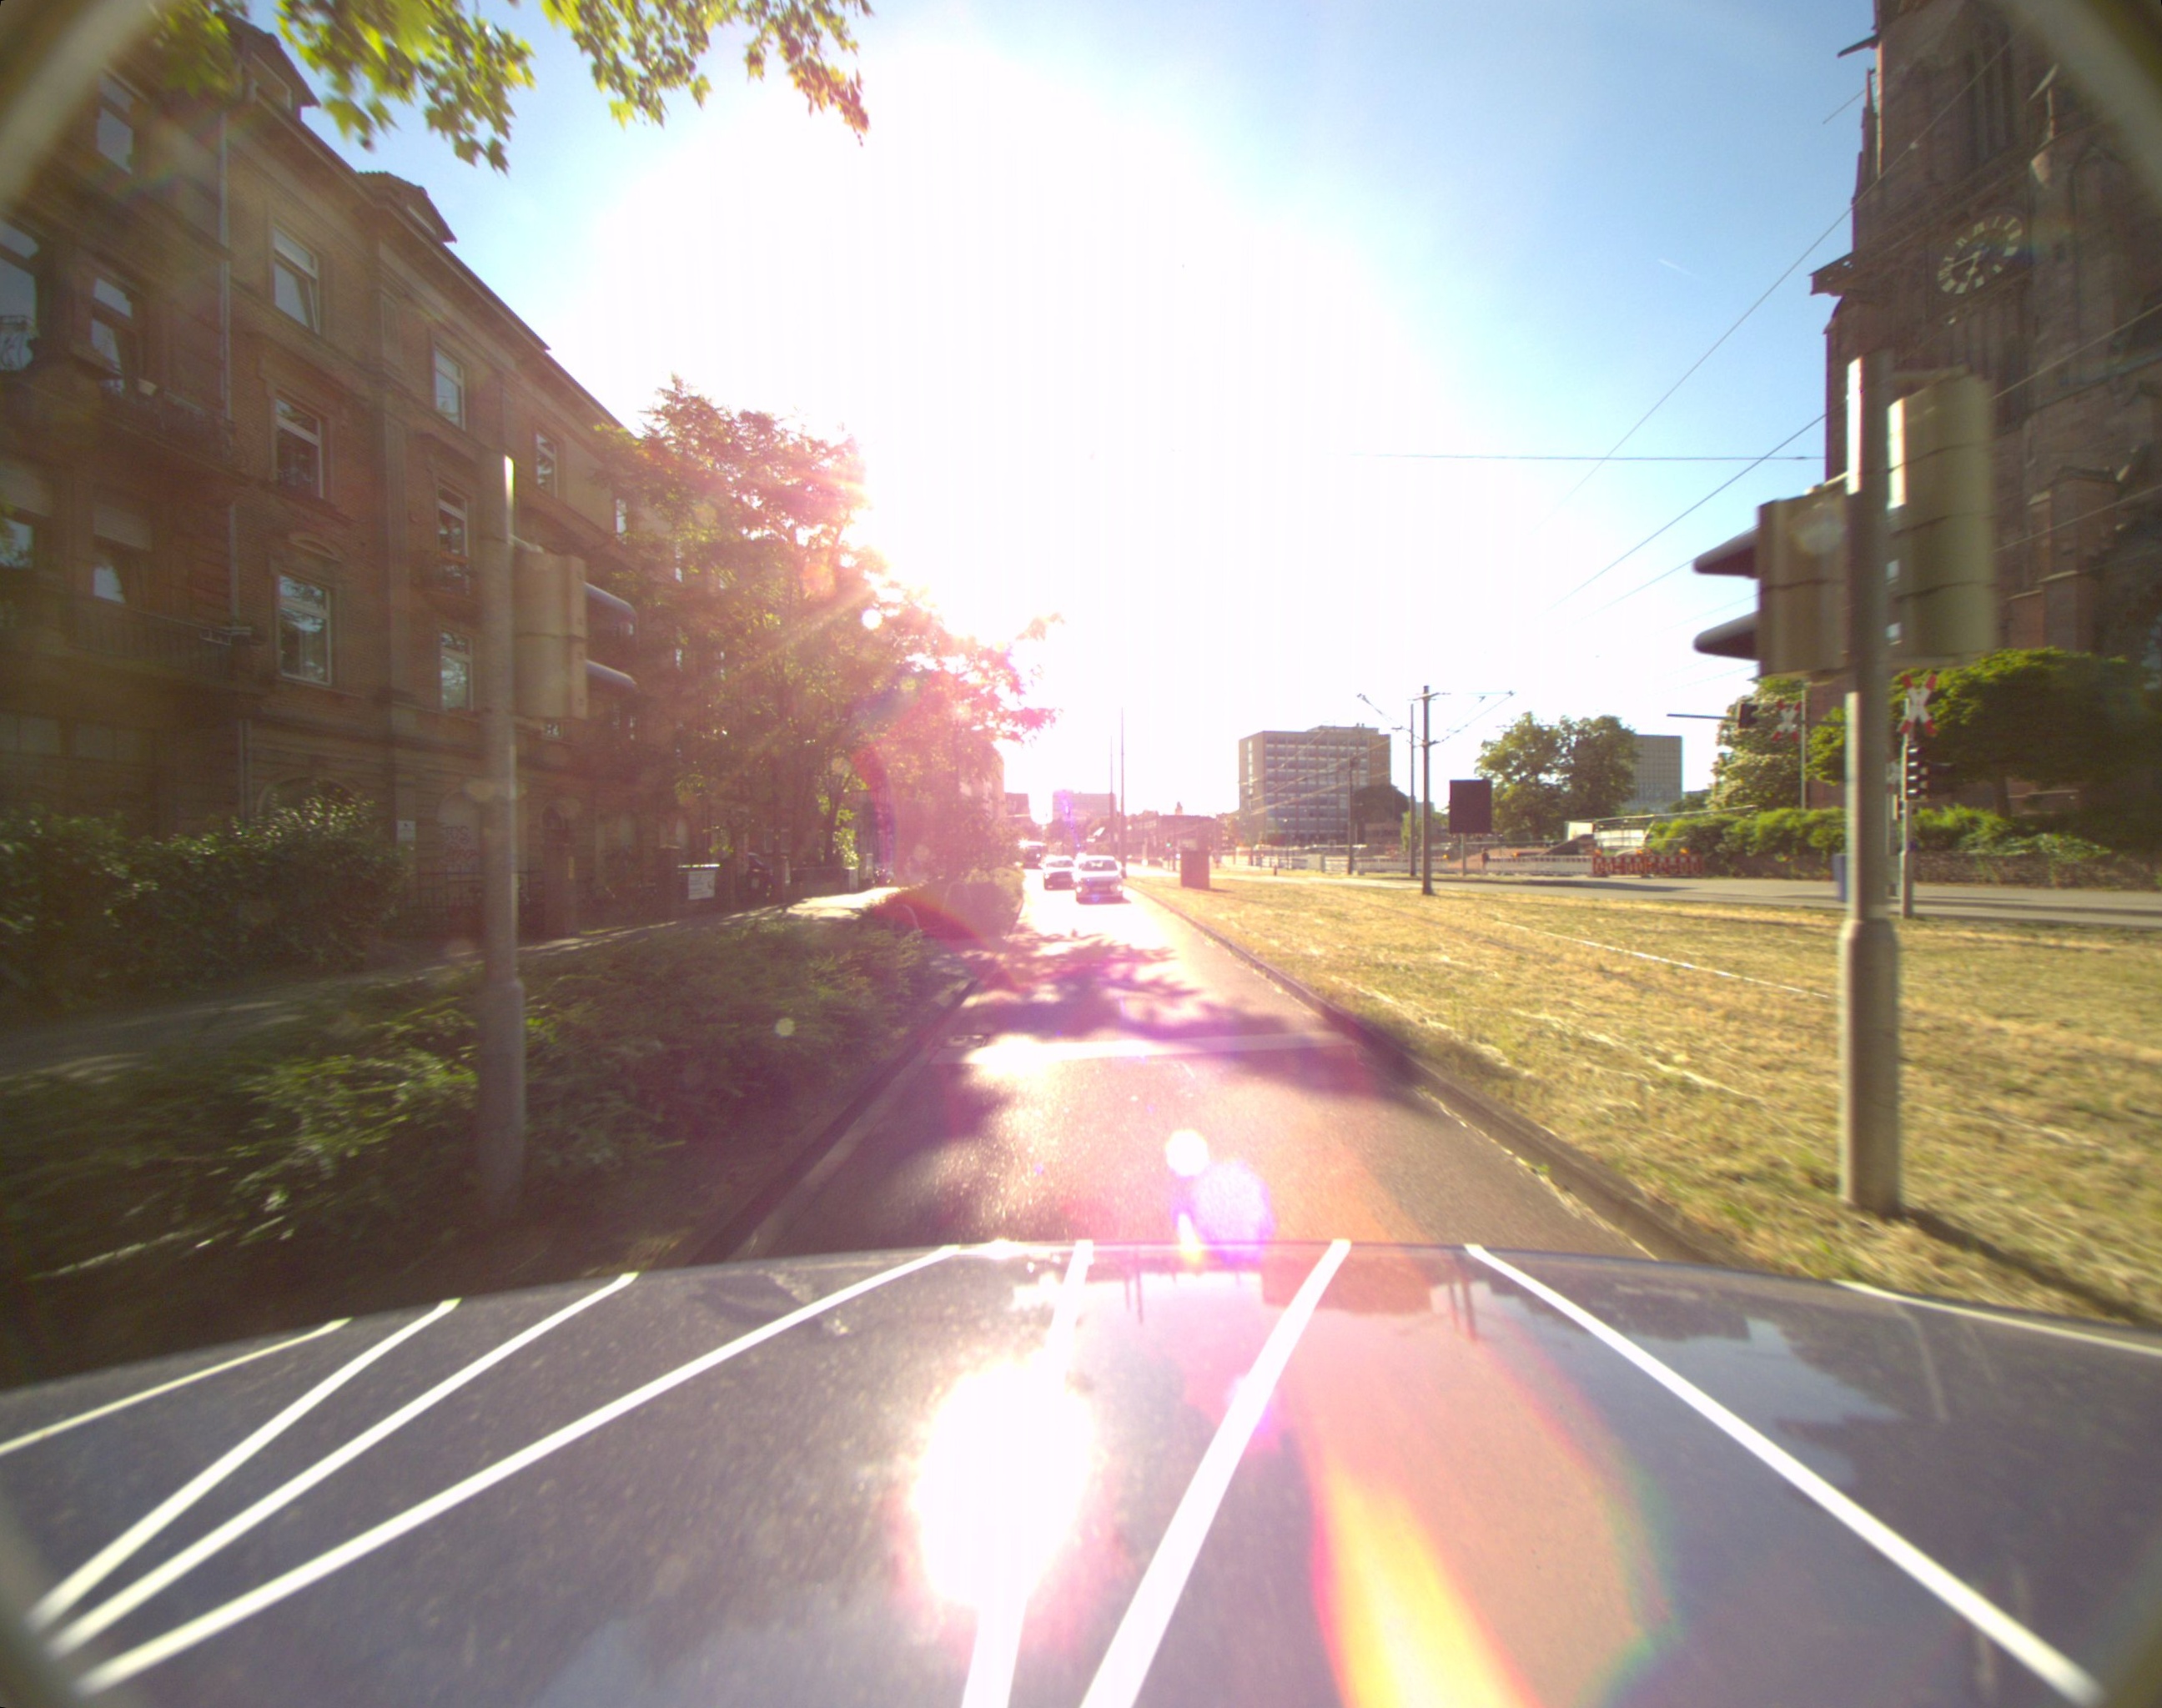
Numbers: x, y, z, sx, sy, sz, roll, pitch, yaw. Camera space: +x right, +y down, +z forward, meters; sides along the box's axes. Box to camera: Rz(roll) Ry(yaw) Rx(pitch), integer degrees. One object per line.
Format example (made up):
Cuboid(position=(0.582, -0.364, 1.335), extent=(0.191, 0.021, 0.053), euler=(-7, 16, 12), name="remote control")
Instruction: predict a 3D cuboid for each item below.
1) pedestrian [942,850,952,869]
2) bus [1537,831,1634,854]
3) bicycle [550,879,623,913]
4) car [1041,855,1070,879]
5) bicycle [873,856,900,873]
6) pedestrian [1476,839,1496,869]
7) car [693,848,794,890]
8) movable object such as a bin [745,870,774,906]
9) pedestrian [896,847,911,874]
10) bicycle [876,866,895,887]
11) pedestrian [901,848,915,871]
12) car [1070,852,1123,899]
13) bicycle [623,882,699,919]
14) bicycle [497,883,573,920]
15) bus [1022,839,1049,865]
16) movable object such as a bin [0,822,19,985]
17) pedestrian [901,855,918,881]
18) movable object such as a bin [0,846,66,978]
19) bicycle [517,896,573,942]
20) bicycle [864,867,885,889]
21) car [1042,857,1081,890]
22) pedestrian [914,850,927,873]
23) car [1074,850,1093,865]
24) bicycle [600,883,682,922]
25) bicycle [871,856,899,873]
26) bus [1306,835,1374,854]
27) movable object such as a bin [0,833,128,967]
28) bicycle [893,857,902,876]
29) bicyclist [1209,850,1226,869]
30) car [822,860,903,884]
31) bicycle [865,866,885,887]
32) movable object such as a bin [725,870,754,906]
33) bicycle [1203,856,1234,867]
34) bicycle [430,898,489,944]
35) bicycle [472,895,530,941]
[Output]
Cuboid(position=(-13.892, 0.548, 78.575), extent=(0.824, 1.919, 1.137), euler=(0, 1, 0), name="pedestrian")
Cuboid(position=(80.906, -1.756, 122.170), extent=(12.626, 3.174, 3.259), euler=(-2, -3, 44), name="bus")
Cuboid(position=(-13.620, 1.161, 20.949), extent=(1.734, 0.919, 0.443), euler=(0, -2, 4), name="bicycle")
Cuboid(position=(-1.764, 0.941, 52.345), extent=(1.826, 1.379, 4.459), euler=(3, -3, -2), name="car")
Cuboid(position=(-14.124, 0.789, 55.241), extent=(1.890, 1.232, 0.490), euler=(0, 2, -12), name="bicycle")
Cuboid(position=(24.206, 0.022, 45.434), extent=(0.730, 1.762, 0.863), euler=(0, -2, -3), name="pedestrian")
Cuboid(position=(-17.884, 0.830, 40.392), extent=(4.589, 2.111, 1.776), euler=(-1, -2, -2), name="car")
Cuboid(position=(-10.212, 1.069, 24.139), extent=(0.598, 1.054, 0.652), euler=(4, 3, 0), name="movable object such as a bin")
Cuboid(position=(-13.252, 0.480, 56.636), extent=(0.824, 1.919, 1.137), euler=(0, 1, 0), name="pedestrian")
Cuboid(position=(-9.925, 1.144, 38.625), extent=(0.519, 1.041, 1.821), euler=(0, -2, -1), name="bicycle")
Cuboid(position=(-14.392, 0.458, 63.261), extent=(0.824, 1.919, 1.137), euler=(0, 1, 0), name="pedestrian")
Cuboid(position=(0.533, 0.684, 26.584), extent=(1.720, 1.484, 3.870), euler=(-1, 0, 1), name="car")
Cuboid(position=(-10.817, 1.193, 19.590), extent=(1.656, 0.919, 0.539), euler=(0, -2, 1), name="bicycle")
Cuboid(position=(-13.674, 1.189, 19.053), extent=(1.599, 0.919, 0.443), euler=(0, -2, 4), name="bicycle")
Cuboid(position=(-5.702, -0.253, 97.187), extent=(2.722, 3.162, 12.540), euler=(0, 0, 0), name="bus")
Cuboid(position=(-13.974, 0.602, 7.822), extent=(1.550, 1.984, 3.230), euler=(0, 0, -1), name="movable object such as a bin")
Cuboid(position=(-10.098, 0.832, 44.704), extent=(0.701, 1.525, 0.663), euler=(0, 1, 41), name="pedestrian")
Cuboid(position=(-14.210, 0.750, 9.943), extent=(0.756, 1.682, 0.743), euler=(0, -2, -2), name="movable object such as a bin")
Cuboid(position=(-10.113, 1.219, 14.349), extent=(0.770, 0.849, 0.375), euler=(0, -2, -3), name="bicycle")
Cuboid(position=(-9.338, 1.088, 34.394), extent=(0.527, 0.982, 1.722), euler=(0, -2, -1), name="bicycle")
Cuboid(position=(-0.890, 0.872, 35.947), extent=(1.694, 1.380, 3.831), euler=(1, 1, 1), name="car")
Cuboid(position=(-13.356, 0.612, 63.215), extent=(0.824, 1.919, 1.137), euler=(0, 1, 0), name="pedestrian")
Cuboid(position=(0.259, 0.482, 90.560), extent=(1.999, 1.666, 4.283), euler=(-2, -1, -2), name="car")
Cuboid(position=(-10.672, 1.180, 18.465), extent=(1.656, 0.919, 0.539), euler=(0, -2, 1), name="bicycle")
Cuboid(position=(-14.093, 0.762, 54.653), extent=(1.890, 1.232, 0.490), euler=(0, 2, -12), name="bicycle")
Cuboid(position=(50.950, -1.817, 150.076), extent=(12.626, 3.174, 2.848), euler=(-2, -3, 44), name="bus")
Cuboid(position=(-13.395, 0.592, 9.966), extent=(0.756, 1.682, 0.743), euler=(0, -2, -2), name="movable object such as a bin")
Cuboid(position=(-12.545, 0.838, 51.943), extent=(0.490, 1.232, 1.887), euler=(0, 2, -9), name="bicycle")
Cuboid(position=(13.349, 0.512, 74.300), extent=(1.320, 1.797, 0.964), euler=(0, -2, -17), name="bicyclist")
Cuboid(position=(-13.037, 1.071, 45.500), extent=(4.262, 1.406, 1.813), euler=(0, -2, 0), name="car")
Cuboid(position=(-10.438, 1.141, 38.624), extent=(0.519, 1.041, 1.821), euler=(0, -2, -1), name="bicycle")
Cuboid(position=(-10.839, 1.069, 24.132), extent=(0.598, 1.054, 0.652), euler=(4, 3, 0), name="movable object such as a bin")
Cuboid(position=(13.481, 0.738, 74.326), extent=(2.826, 1.090, 0.964), euler=(0, -2, -17), name="bicycle")
Cuboid(position=(-11.708, 1.251, 14.321), extent=(0.770, 0.849, 0.375), euler=(0, -2, -3), name="bicycle")
Cuboid(position=(-10.917, 1.208, 14.310), extent=(0.770, 0.849, 0.375), euler=(0, -2, -3), name="bicycle")
